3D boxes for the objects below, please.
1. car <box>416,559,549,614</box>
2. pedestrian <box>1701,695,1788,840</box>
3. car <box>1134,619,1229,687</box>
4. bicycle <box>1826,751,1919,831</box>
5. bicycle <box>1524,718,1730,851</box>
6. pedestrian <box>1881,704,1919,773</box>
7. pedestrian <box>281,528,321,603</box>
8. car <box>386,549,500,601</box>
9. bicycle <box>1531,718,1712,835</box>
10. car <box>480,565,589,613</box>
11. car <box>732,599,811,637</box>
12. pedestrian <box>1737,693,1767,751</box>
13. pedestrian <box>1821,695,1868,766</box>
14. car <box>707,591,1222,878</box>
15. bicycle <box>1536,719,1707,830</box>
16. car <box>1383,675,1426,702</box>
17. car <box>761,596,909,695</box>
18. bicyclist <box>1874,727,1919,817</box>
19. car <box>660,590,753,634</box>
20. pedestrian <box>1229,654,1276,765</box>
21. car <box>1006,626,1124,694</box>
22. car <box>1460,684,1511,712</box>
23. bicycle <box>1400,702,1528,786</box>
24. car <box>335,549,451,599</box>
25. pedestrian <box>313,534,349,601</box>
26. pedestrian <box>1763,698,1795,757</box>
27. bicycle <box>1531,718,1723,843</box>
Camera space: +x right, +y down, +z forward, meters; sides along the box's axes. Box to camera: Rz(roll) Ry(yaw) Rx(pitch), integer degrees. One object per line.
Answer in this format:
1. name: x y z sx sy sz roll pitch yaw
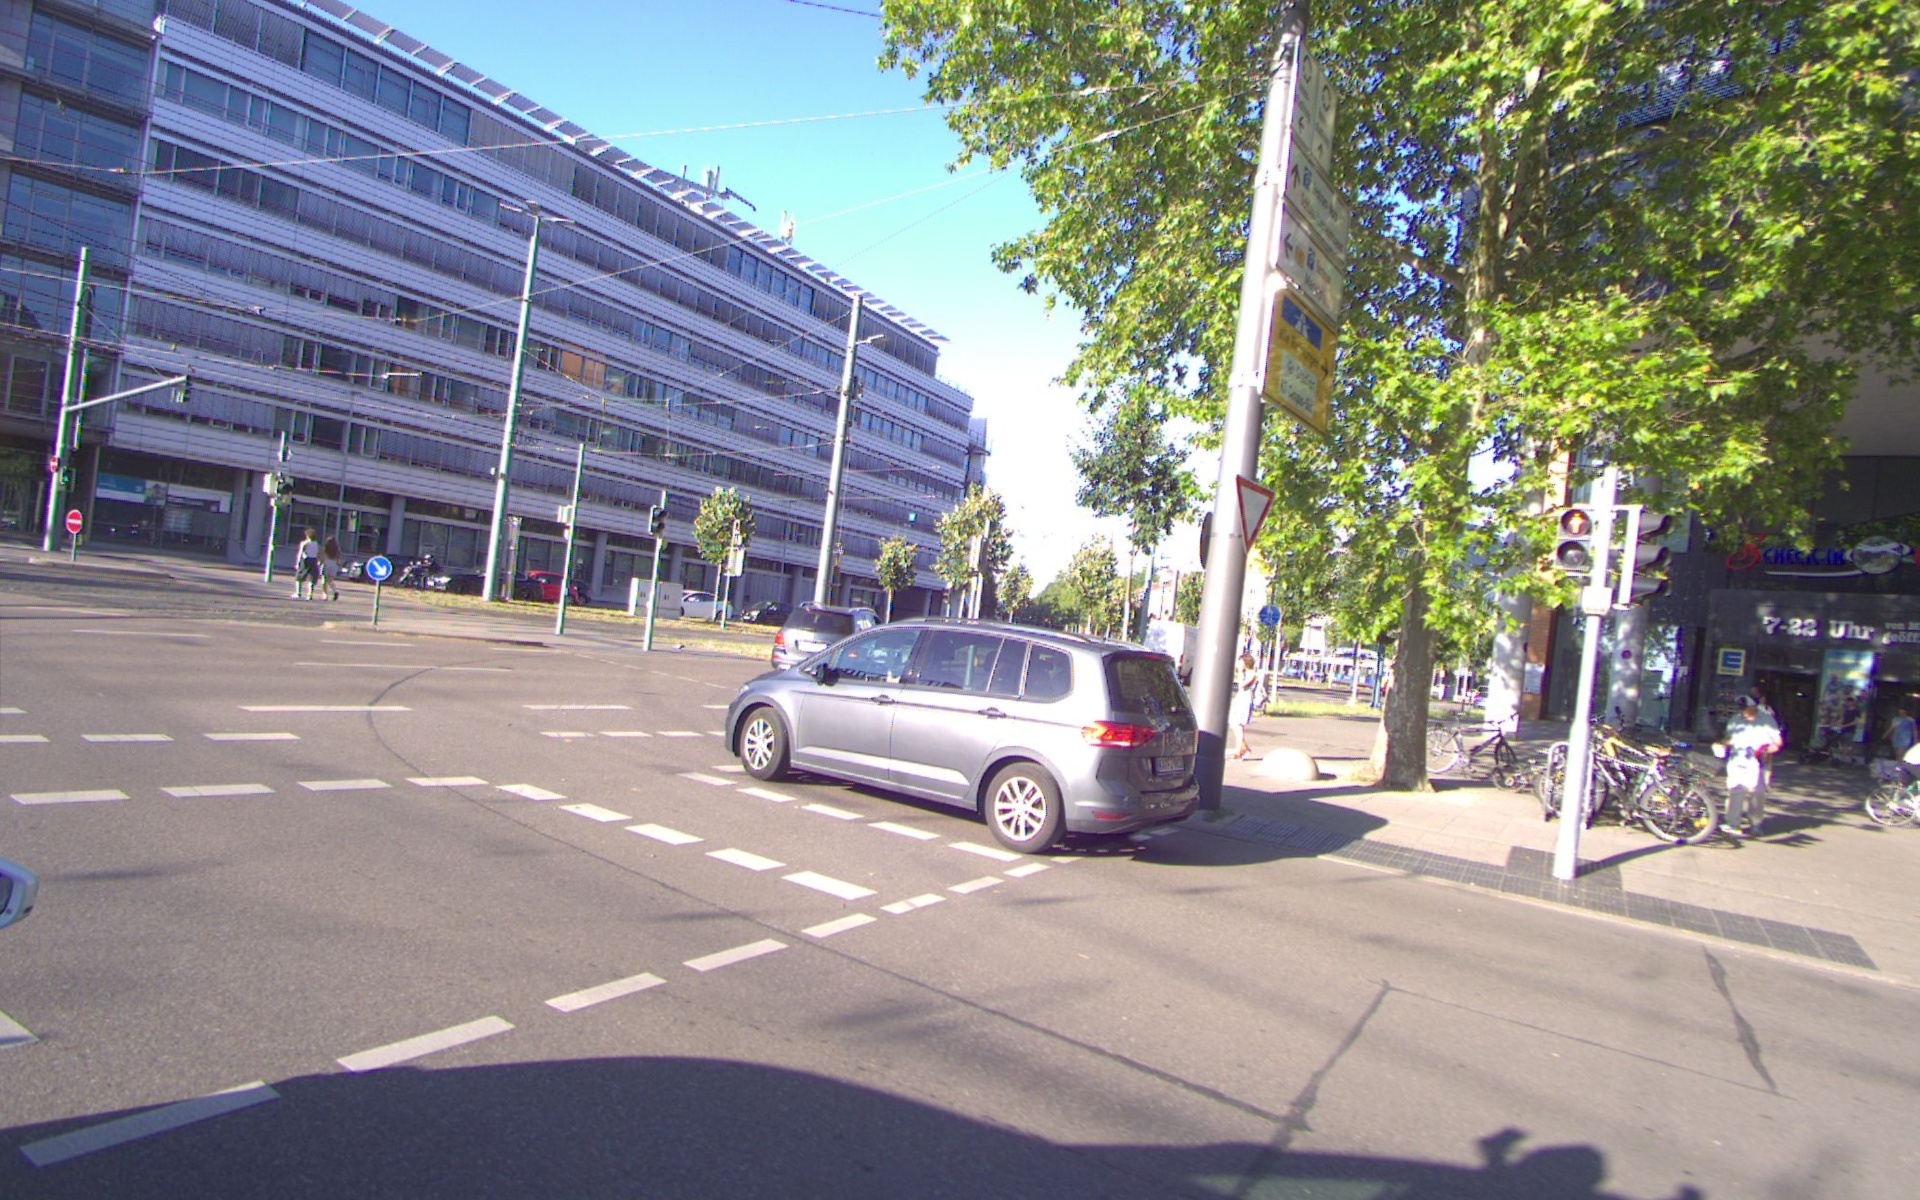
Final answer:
1. car: -19.739 -0.525 41.742 1.878 1.640 4.507 6 -3 41
2. pedestrian: 10.588 2.242 13.571 0.721 1.785 0.889 7 -1 42
3. car: 10.146 2.479 45.593 1.968 2.508 5.964 6 -2 34
4. bicycle: 15.609 3.197 16.464 0.688 1.080 2.001 7 -1 -27
5. bicycle: 7.602 2.066 11.575 1.813 1.143 0.774 6 0 32
6. pedestrian: 24.119 3.535 25.773 0.587 1.677 0.590 7 0 41
7. pedestrian: -17.410 -0.913 26.578 0.692 1.865 0.959 6 0 -32
8. car: -22.319 -1.051 43.559 1.878 1.640 3.851 6 -3 41
9. bicycle: 8.521 2.246 13.049 1.813 1.143 0.774 6 0 32
10. car: -19.702 -0.492 46.687 1.878 1.640 4.156 6 -3 41
11. car: -10.930 1.073 58.503 1.878 1.640 4.156 6 -3 41
12. pedestrian: 23.208 3.582 29.496 0.450 1.620 0.351 6 0 17
13. pedestrian: 23.422 3.450 26.642 0.587 1.777 0.589 6 1 -23
14. car: -0.100 0.975 8.645 4.110 1.621 1.615 6 -2 36
15. bicycle: 8.979 2.334 13.751 1.813 1.143 0.774 6 0 32
16. car: 33.225 6.629 75.148 1.649 1.659 3.982 6 -1 41
17. car: -2.469 0.958 21.029 1.830 1.651 4.268 7 -2 9
18. bicyclist: 15.705 2.840 16.379 0.667 1.361 0.952 7 0 -27
19. car: -12.891 0.620 51.297 1.878 1.640 4.156 6 -3 41
20. pedestrian: 4.343 1.608 14.930 0.475 1.557 0.573 7 0 20
21. car: 3.237 1.840 30.220 1.834 1.651 4.258 6 -2 30
22. car: 37.614 7.003 71.930 3.971 1.613 1.773 8 -1 -40
23. bicycle: 8.011 2.269 16.017 1.673 1.049 0.547 6 0 36
24. car: -26.111 -1.183 46.431 1.878 1.640 4.156 6 -3 41
25. pedestrian: -16.988 -0.876 27.177 0.641 1.708 0.839 6 0 -32
26. pedestrian: 23.558 3.671 28.940 0.450 1.620 0.351 6 0 17
27. bicycle: 8.099 2.161 12.319 1.813 1.143 0.774 6 0 32
